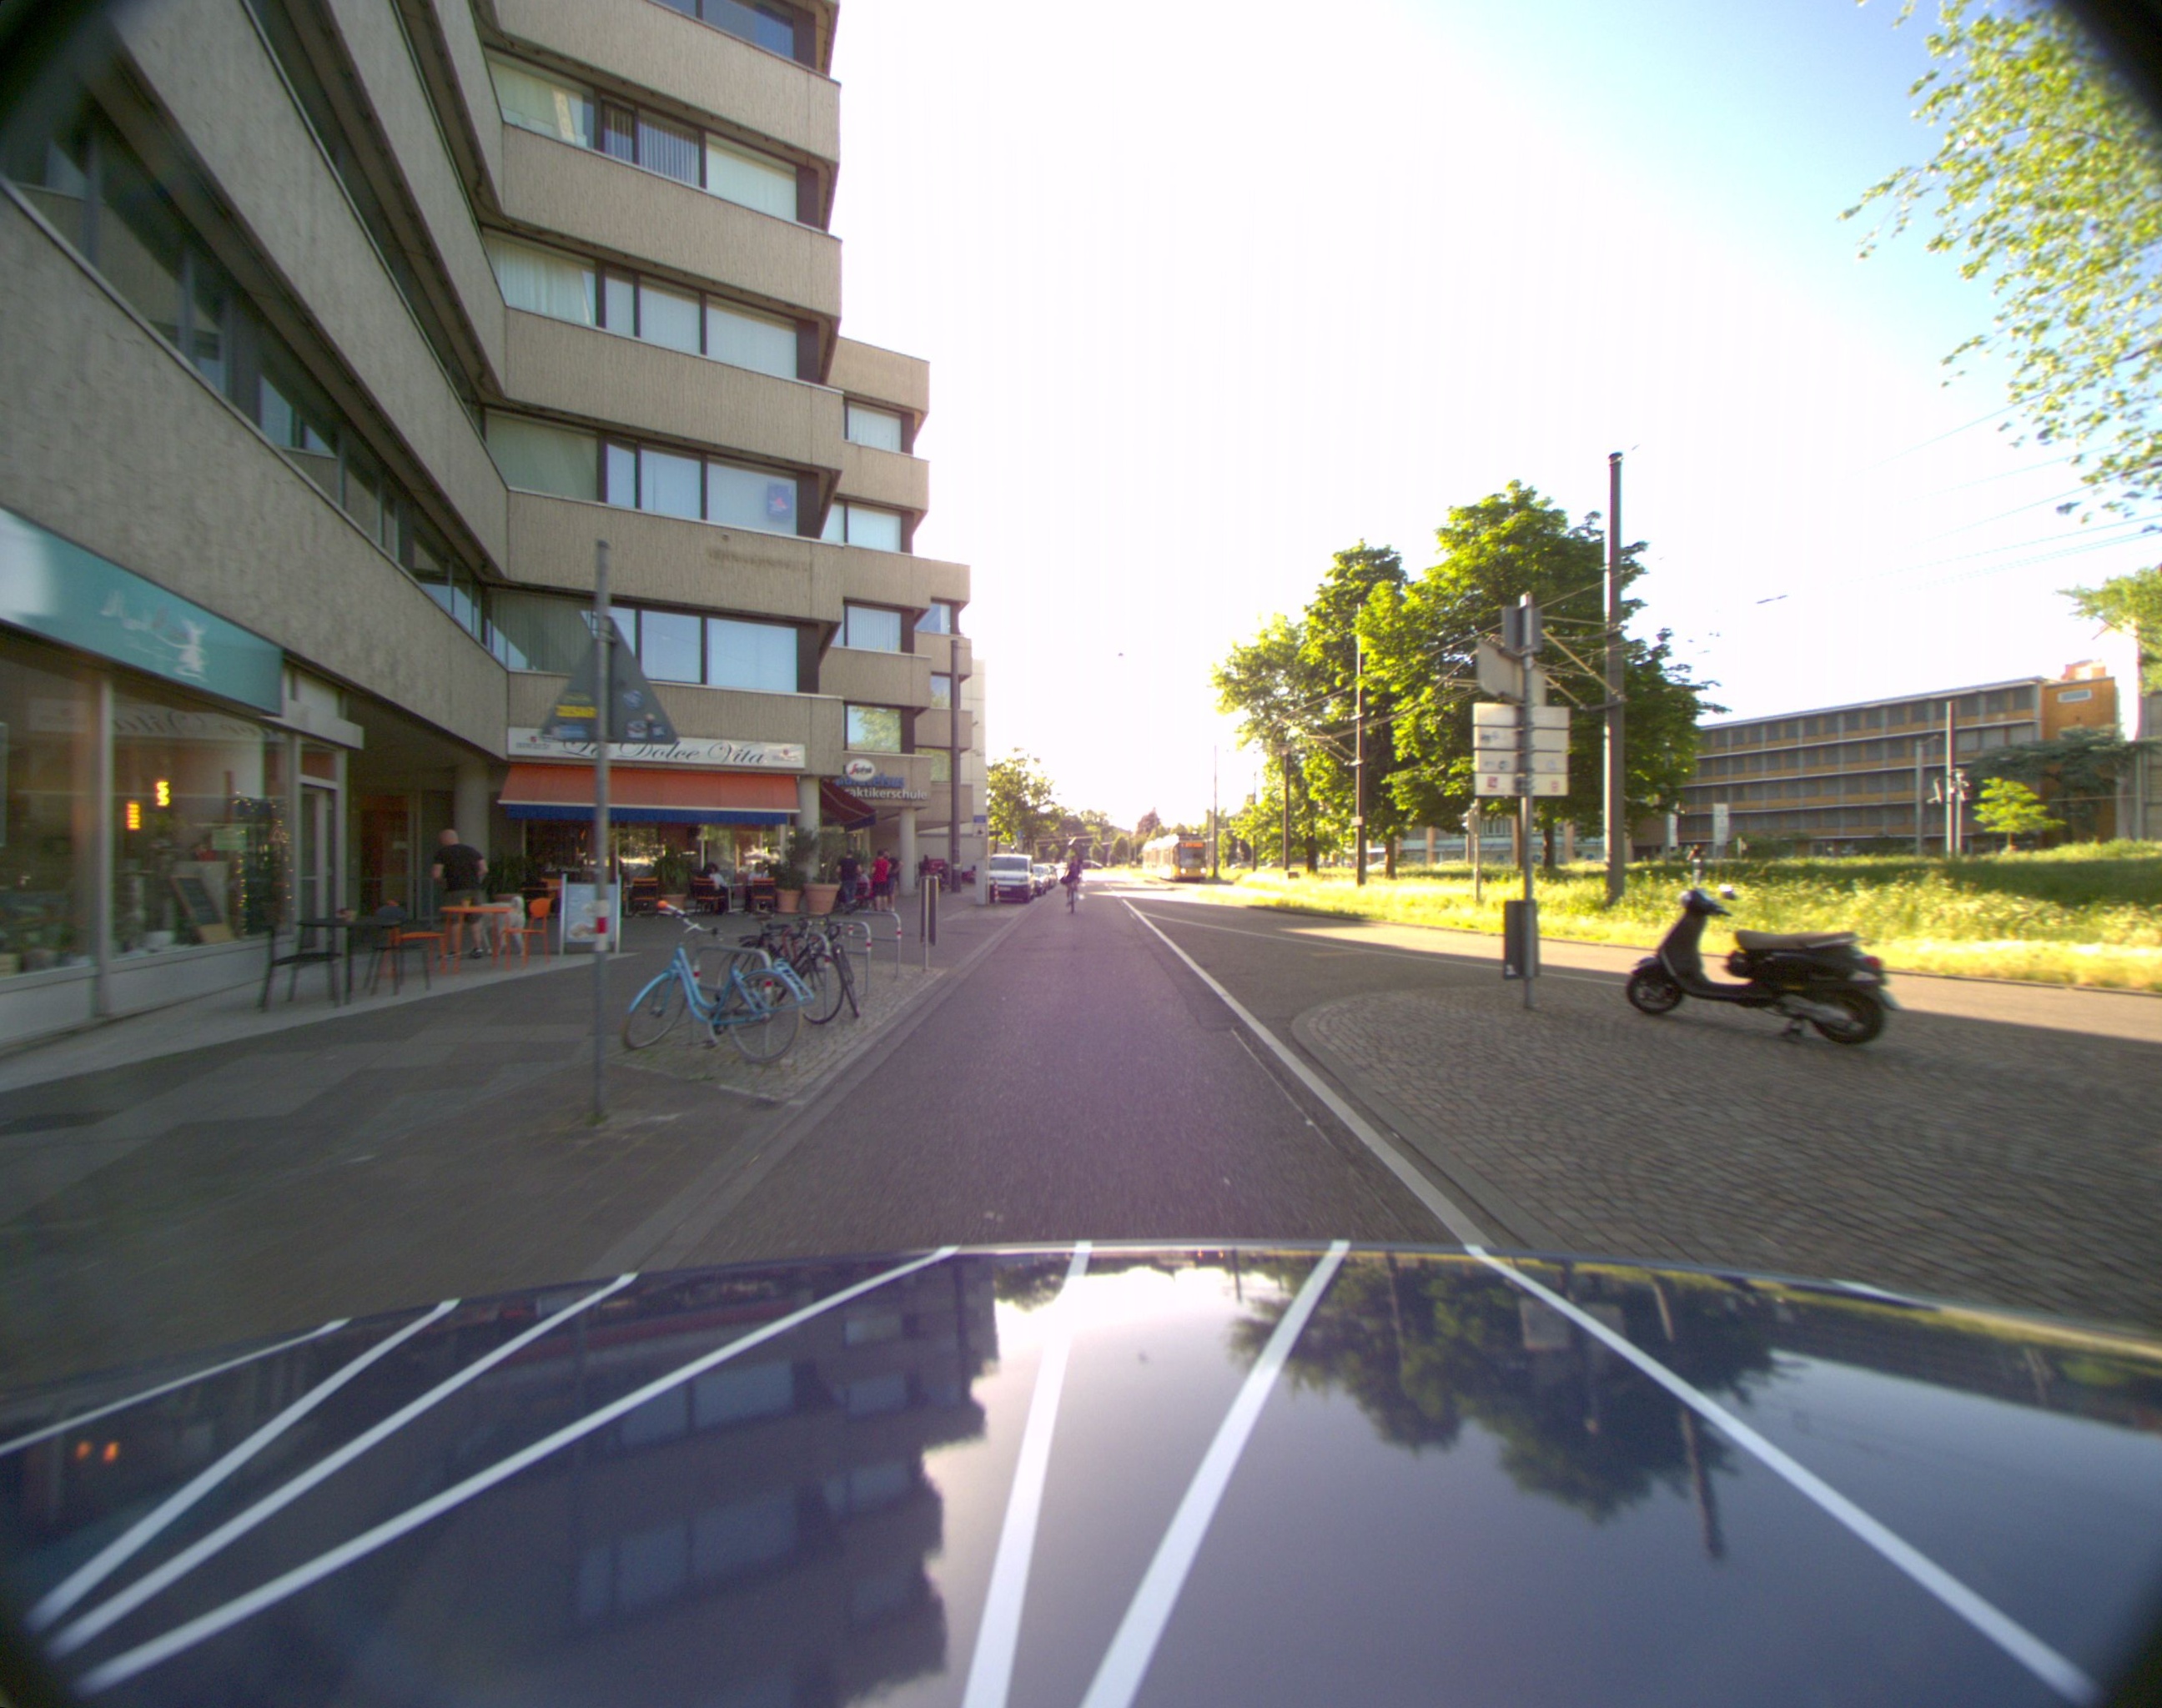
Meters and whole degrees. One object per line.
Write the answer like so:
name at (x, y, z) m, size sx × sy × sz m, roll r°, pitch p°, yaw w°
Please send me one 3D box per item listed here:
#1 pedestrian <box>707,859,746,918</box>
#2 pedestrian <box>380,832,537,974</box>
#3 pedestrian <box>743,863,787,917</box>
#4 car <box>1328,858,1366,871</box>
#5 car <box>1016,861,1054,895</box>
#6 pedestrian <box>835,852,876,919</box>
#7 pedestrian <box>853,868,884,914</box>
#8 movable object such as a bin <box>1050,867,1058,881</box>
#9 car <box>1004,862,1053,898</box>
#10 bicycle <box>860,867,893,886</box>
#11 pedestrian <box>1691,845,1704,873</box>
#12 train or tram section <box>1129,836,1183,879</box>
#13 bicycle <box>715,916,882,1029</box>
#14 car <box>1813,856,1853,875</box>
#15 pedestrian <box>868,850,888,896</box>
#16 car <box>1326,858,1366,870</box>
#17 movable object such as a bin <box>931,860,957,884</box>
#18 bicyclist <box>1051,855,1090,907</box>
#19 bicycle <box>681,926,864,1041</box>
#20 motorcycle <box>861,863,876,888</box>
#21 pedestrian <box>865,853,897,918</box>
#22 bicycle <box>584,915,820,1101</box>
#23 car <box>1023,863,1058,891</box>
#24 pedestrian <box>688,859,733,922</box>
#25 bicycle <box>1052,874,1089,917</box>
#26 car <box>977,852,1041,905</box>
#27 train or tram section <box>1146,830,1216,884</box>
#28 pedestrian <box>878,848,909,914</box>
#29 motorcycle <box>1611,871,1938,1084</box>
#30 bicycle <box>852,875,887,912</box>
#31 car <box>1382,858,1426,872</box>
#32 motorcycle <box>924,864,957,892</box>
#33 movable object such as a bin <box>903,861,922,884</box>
pedestrian at (-8.679, 0.820, 18.619) m, size 0.845 × 1.394 × 0.829 m, roll -1°, pitch 0°, yaw -25°
pedestrian at (-8.088, 0.601, 9.934) m, size 1.020 × 1.732 × 1.137 m, roll -1°, pitch 1°, yaw 14°
pedestrian at (-7.816, 0.887, 18.828) m, size 0.844 × 1.284 × 0.830 m, roll 1°, pitch 1°, yaw -12°
car at (38.001, 1.478, 108.685) m, size 2.127 × 1.658 × 5.200 m, roll -2°, pitch 1°, yaw -24°
car at (-2.524, 1.297, 42.865) m, size 1.856 × 1.679 × 3.866 m, roll -2°, pitch 1°, yaw 0°
pedestrian at (-5.833, 0.800, 19.662) m, size 0.845 × 1.700 × 0.718 m, roll 1°, pitch 0°, yaw -28°
pedestrian at (-5.976, 1.027, 21.368) m, size 0.631 × 1.229 × 0.624 m, roll 1°, pitch 1°, yaw 4°
movable object such as a bin at (-2.068, 1.554, 58.747) m, size 0.594 × 1.077 × 0.604 m, roll -2°, pitch 1°, yaw -3°
car at (-2.438, 1.195, 36.348) m, size 1.778 × 1.445 × 4.731 m, roll -2°, pitch 1°, yaw 2°
bicycle at (-10.954, 1.194, 40.671) m, size 1.853 × 0.975 × 0.683 m, roll -2°, pitch 0°, yaw 35°
pedestrian at (35.568, 0.295, 43.810) m, size 0.553 × 1.606 × 0.676 m, roll -1°, pitch 2°, yaw 38°
train or tram section at (6.806, 0.391, 71.330) m, size 2.957 × 3.591 × 13.632 m, roll -1°, pitch 0°, yaw -3°
bicycle at (-2.878, 1.178, 7.729) m, size 1.681 × 1.056 × 0.344 m, roll -1°, pitch 1°, yaw 16°
car at (67.665, 1.024, 68.420) m, size 1.994 × 1.572 × 4.008 m, roll -1°, pitch 1°, yaw 37°
pedestrian at (-8.167, 0.748, 30.566) m, size 0.706 × 1.805 × 0.715 m, roll -2°, pitch 1°, yaw -16°
car at (33.947, 1.292, 97.494) m, size 2.002 × 1.439 × 5.010 m, roll -2°, pitch 1°, yaw -21°
movable object such as a bin at (-8.331, 1.084, 46.241) m, size 1.303 × 1.425 × 0.959 m, roll -2°, pitch 1°, yaw 8°
bicyclist at (-0.301, 0.799, 22.977) m, size 1.040 × 1.475 × 0.988 m, roll -2°, pitch 1°, yaw 4°
bicycle at (-2.996, 1.223, 7.364) m, size 1.706 × 0.998 × 0.428 m, roll -1°, pitch 1°, yaw 16°
motorcycle at (-10.280, 1.046, 36.792) m, size 0.513 × 1.161 × 2.099 m, roll -2°, pitch -1°, yaw -11°
pedestrian at (-5.426, 0.840, 20.631) m, size 0.585 × 1.704 × 0.698 m, roll -2°, pitch 1°, yaw 3°
bicycle at (-2.938, 1.128, 5.900) m, size 1.623 × 1.236 × 0.660 m, roll -1°, pitch 1°, yaw 20°
car at (-2.466, 1.371, 46.792) m, size 1.675 × 1.510 × 4.199 m, roll -2°, pitch 1°, yaw 3°
pedestrian at (-8.594, 0.834, 17.635) m, size 0.845 × 1.394 × 0.751 m, roll -2°, pitch 0°, yaw -29°
bicycle at (-0.295, 1.223, 23.021) m, size 0.887 × 1.129 × 2.229 m, roll -2°, pitch 1°, yaw 4°
car at (-2.703, 0.866, 29.392) m, size 1.998 × 1.802 × 4.308 m, roll -2°, pitch 1°, yaw 0°
train or tram section at (7.367, 0.265, 58.196) m, size 2.957 × 3.663 × 13.181 m, roll -1°, pitch 0°, yaw -3°
pedestrian at (-5.366, 0.752, 21.749) m, size 0.672 × 1.845 × 0.610 m, roll 2°, pitch 2°, yaw 4°
motorcycle at (5.364, 0.848, 6.030) m, size 0.749 × 1.366 × 1.757 m, roll -2°, pitch 1°, yaw -23°
bicycle at (-6.541, 1.191, 23.521) m, size 0.564 × 1.028 × 1.644 m, roll -2°, pitch 1°, yaw 1°
car at (38.069, 1.268, 89.657) m, size 2.002 × 1.587 × 4.646 m, roll -2°, pitch 1°, yaw -25°
motorcycle at (-6.417, 1.089, 34.756) m, size 0.765 × 1.148 × 2.049 m, roll 2°, pitch 2°, yaw 10°
movable object such as a bin at (-10.281, 1.131, 46.405) m, size 0.794 × 1.375 × 0.852 m, roll -2°, pitch 1°, yaw 8°
